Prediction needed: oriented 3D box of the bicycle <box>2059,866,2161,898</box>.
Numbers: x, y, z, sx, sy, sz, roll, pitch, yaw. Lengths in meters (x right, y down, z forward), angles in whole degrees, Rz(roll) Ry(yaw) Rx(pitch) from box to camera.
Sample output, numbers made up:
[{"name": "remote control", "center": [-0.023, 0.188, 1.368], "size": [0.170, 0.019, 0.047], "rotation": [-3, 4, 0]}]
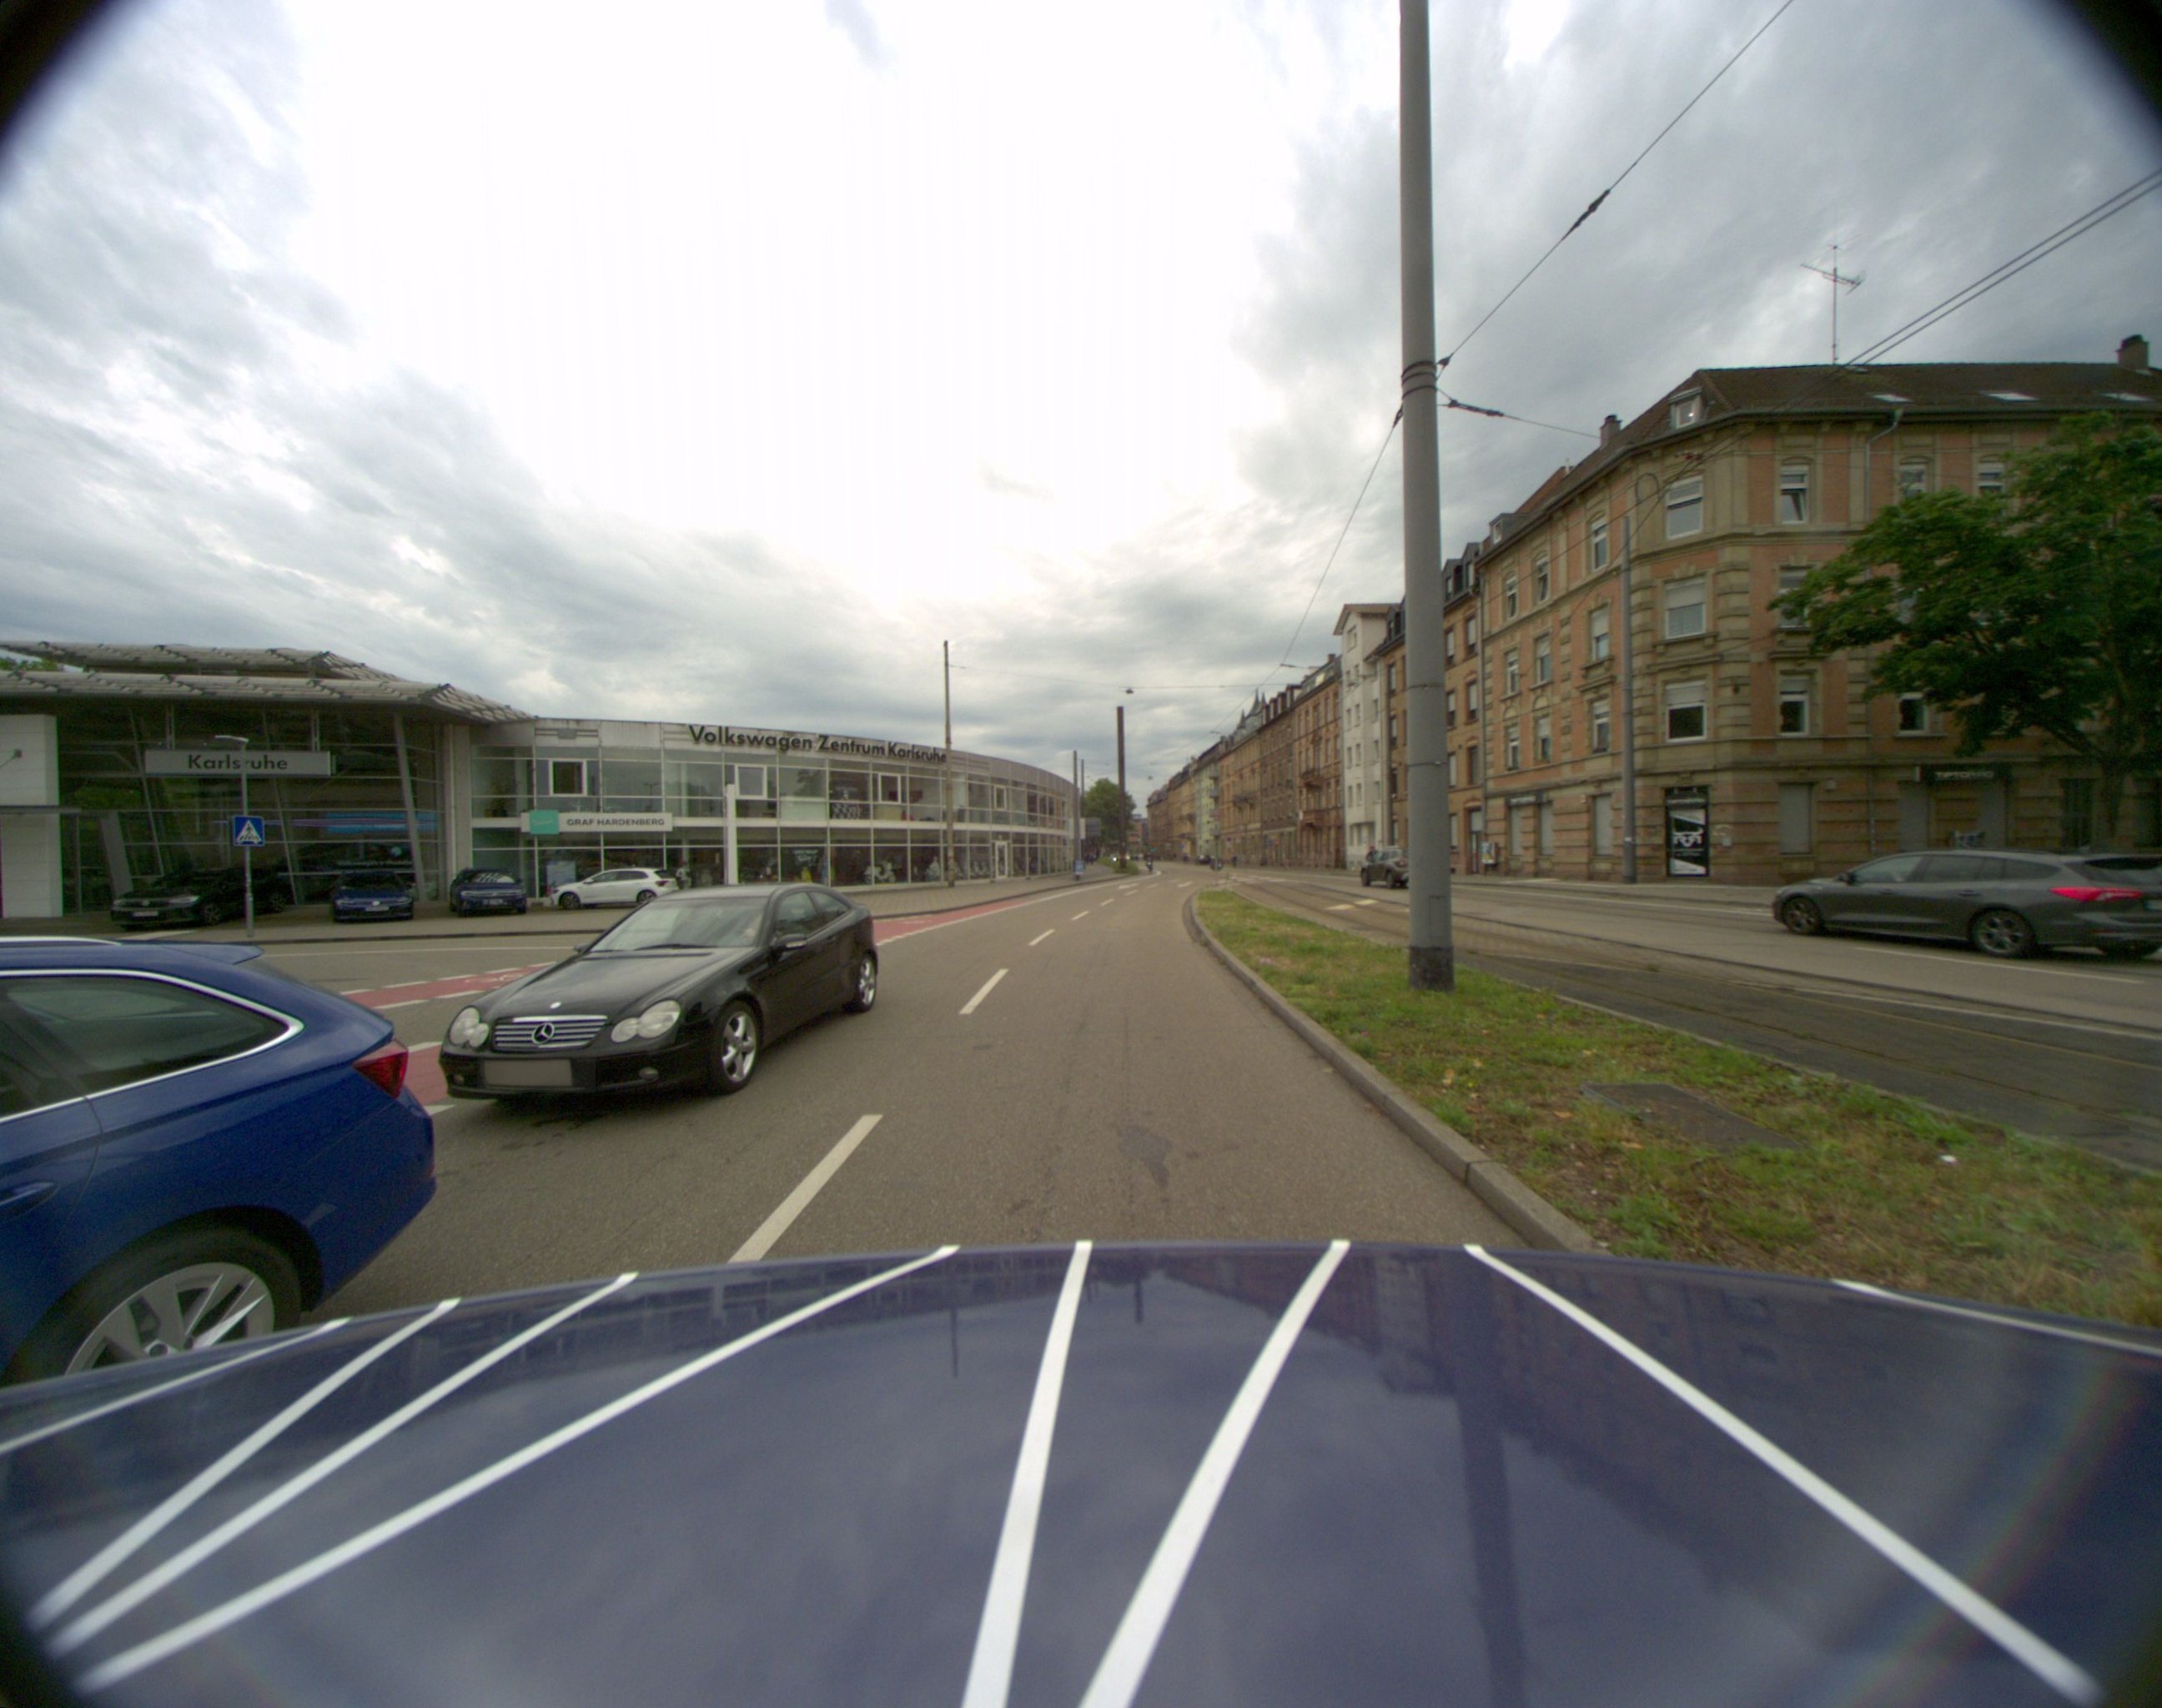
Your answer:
[{"name": "bicycle", "center": [30.320, 0.829, 22.231], "size": [0.662, 0.909, 1.989], "rotation": [0, -3, -10]}]

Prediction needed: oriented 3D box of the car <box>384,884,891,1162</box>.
[{"name": "car", "center": [-3.084, 1.070, 6.430], "size": [1.714, 1.413, 4.070], "rotation": [-1, 0, 3]}]

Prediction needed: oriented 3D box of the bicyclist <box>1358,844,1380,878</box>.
[{"name": "bicyclist", "center": [16.122, 0.365, 42.506], "size": [0.831, 1.881, 1.049], "rotation": [0, 0, -1]}]

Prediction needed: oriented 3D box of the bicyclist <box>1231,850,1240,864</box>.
[{"name": "bicyclist", "center": [16.168, 0.338, 79.559], "size": [0.663, 1.486, 0.942], "rotation": [-1, 1, -3]}]

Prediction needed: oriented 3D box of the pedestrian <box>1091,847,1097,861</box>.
[{"name": "pedestrian", "center": [1.768, 0.028, 104.856], "size": [0.871, 1.843, 0.706], "rotation": [-1, 1, 1]}]

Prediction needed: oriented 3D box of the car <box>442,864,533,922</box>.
[{"name": "car", "center": [-20.105, 1.243, 25.675], "size": [1.905, 1.554, 4.207], "rotation": [-2, 3, -45]}]

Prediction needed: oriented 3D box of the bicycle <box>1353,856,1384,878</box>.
[{"name": "bicycle", "center": [16.117, 0.711, 42.654], "size": [0.826, 1.201, 2.234], "rotation": [0, 0, -1]}]

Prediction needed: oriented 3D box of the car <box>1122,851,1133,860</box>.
[{"name": "car", "center": [8.636, 0.345, 142.320], "size": [1.802, 1.630, 4.230], "rotation": [-1, 0, 1]}]

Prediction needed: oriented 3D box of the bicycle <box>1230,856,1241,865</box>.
[{"name": "bicycle", "center": [16.181, 0.658, 79.558], "size": [0.607, 0.910, 1.719], "rotation": [-1, 0, -4]}]

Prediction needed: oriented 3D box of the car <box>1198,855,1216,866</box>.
[{"name": "car", "center": [17.053, 0.896, 102.925], "size": [1.852, 1.471, 3.828], "rotation": [-1, 0, 3]}]

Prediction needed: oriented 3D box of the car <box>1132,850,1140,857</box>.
[{"name": "car", "center": [13.277, -0.195, 183.141], "size": [1.802, 1.630, 4.230], "rotation": [-1, 0, 1]}]

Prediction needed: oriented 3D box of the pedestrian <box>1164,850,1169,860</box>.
[{"name": "pedestrian", "center": [16.869, 0.208, 150.355], "size": [0.814, 2.002, 0.733], "rotation": [-1, 1, 1]}]

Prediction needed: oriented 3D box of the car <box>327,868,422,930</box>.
[{"name": "car", "center": [-22.205, 1.312, 23.837], "size": [4.325, 1.496, 1.862], "rotation": [3, 3, 43]}]

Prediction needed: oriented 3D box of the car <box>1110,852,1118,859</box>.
[{"name": "car", "center": [7.860, 0.245, 179.602], "size": [1.802, 1.630, 4.230], "rotation": [-1, 0, 1]}]

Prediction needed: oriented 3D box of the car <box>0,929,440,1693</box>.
[{"name": "car", "center": [-3.174, 1.036, 0.412], "size": [1.784, 1.480, 4.465], "rotation": [-1, 1, 1]}]

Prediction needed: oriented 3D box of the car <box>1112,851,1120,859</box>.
[{"name": "car", "center": [7.614, 0.167, 165.479], "size": [1.802, 1.630, 4.230], "rotation": [-1, 0, 1]}]

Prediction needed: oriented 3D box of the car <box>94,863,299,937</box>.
[{"name": "car", "center": [-26.483, 1.290, 23.050], "size": [1.862, 1.624, 4.500], "rotation": [-2, 4, -18]}]

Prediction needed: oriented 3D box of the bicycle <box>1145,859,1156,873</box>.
[{"name": "bicycle", "center": [5.326, 0.907, 57.965], "size": [0.727, 1.003, 2.177], "rotation": [-1, 0, 7]}]

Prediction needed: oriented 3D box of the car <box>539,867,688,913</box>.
[{"name": "car", "center": [-17.001, 1.286, 27.833], "size": [4.263, 1.444, 1.781], "rotation": [-1, 0, -9]}]

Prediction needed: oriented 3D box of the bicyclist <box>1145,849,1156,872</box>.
[{"name": "bicyclist", "center": [5.318, 0.506, 58.085], "size": [0.730, 1.747, 0.911], "rotation": [-1, 1, 7]}]

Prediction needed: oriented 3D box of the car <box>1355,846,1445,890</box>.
[{"name": "car", "center": [12.897, 0.525, 30.988], "size": [1.802, 1.630, 4.229], "rotation": [-1, 0, -1]}]

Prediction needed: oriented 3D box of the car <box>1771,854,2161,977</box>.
[{"name": "car", "center": [12.840, 0.717, 11.010], "size": [1.697, 1.387, 4.392], "rotation": [-1, 0, 0]}]
